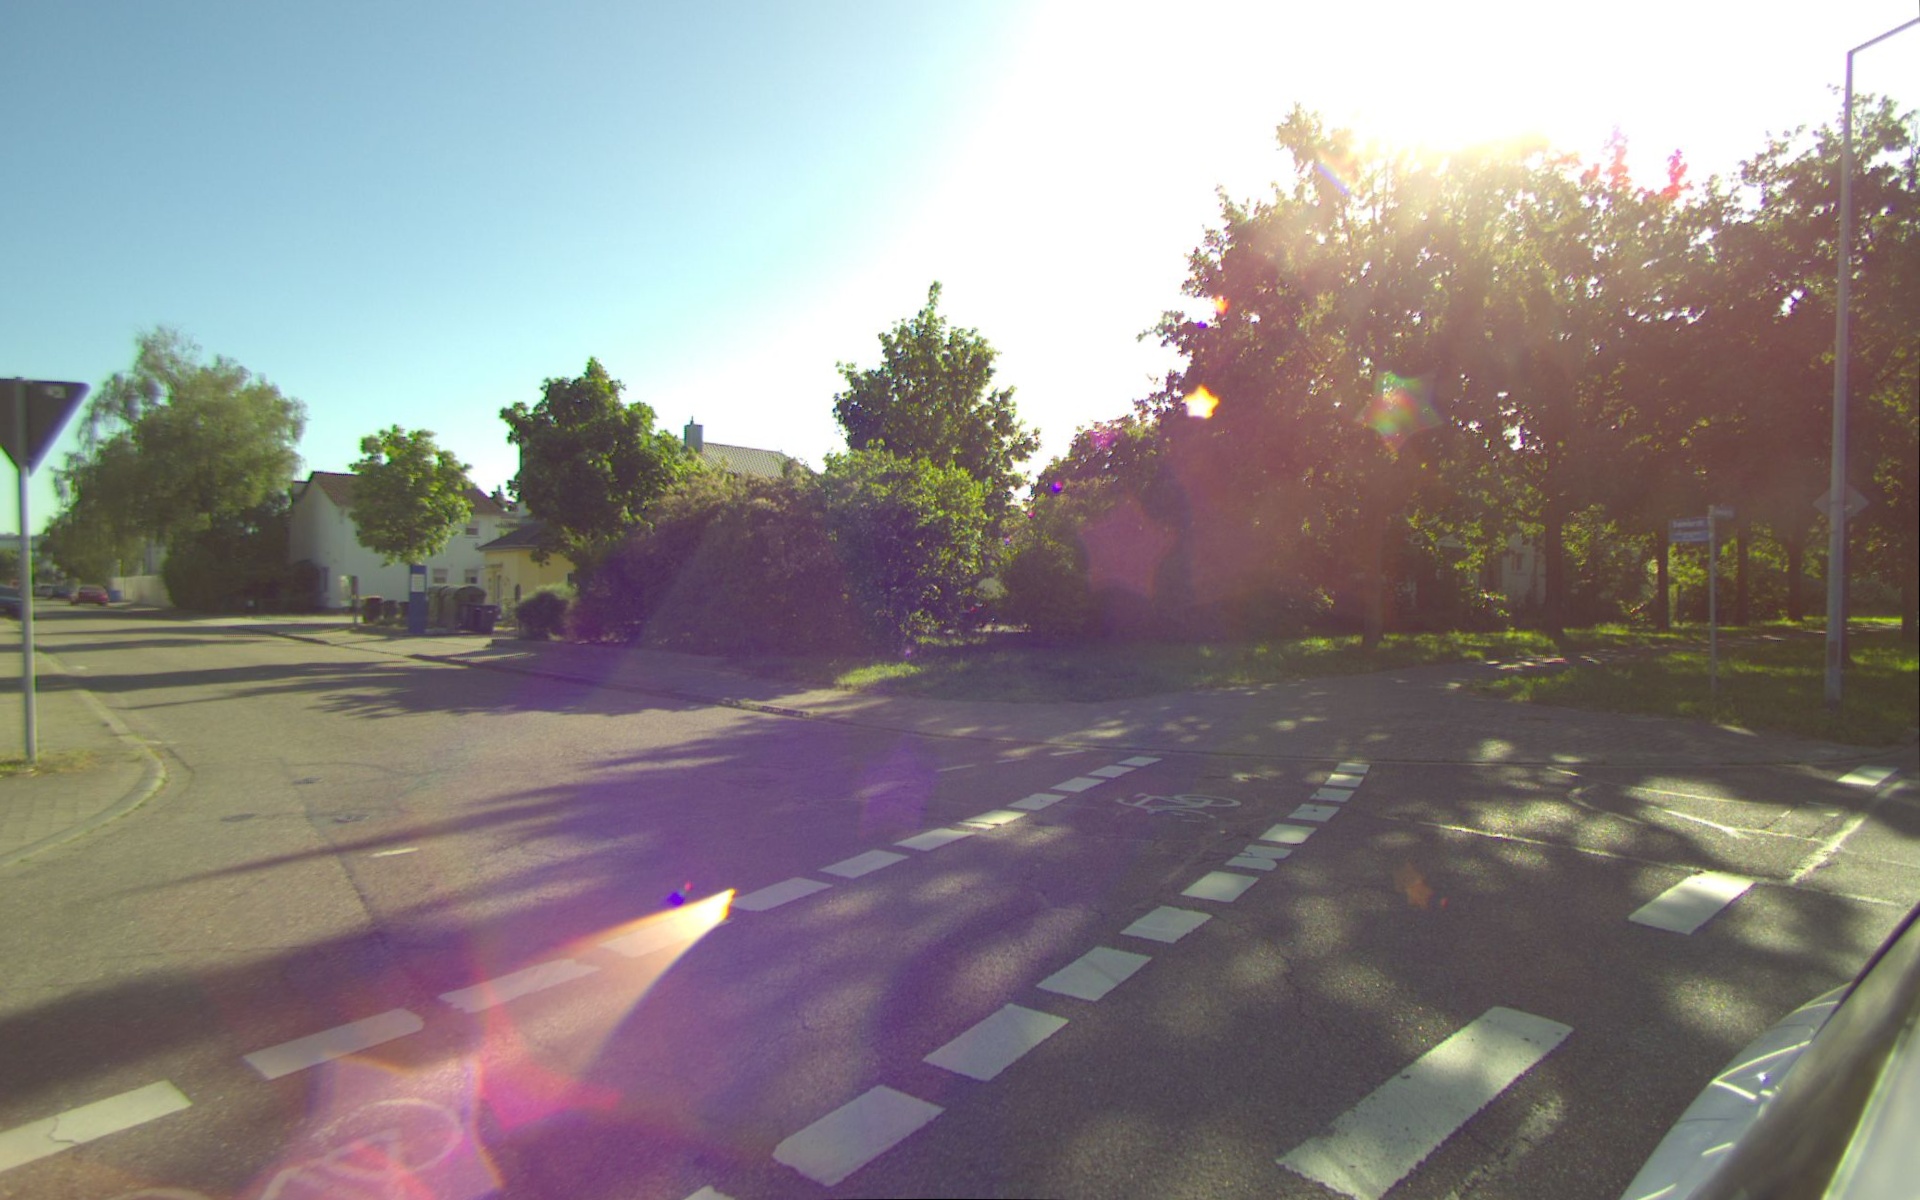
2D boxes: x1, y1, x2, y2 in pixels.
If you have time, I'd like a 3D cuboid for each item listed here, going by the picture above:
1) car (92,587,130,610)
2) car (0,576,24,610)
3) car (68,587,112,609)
[{"bbox_3d":[-70.950,-0.117,84.575,3.985,1.817,1.969,-1,0,43],"label":"car"},{"bbox_3d":[-45.332,-0.288,47.344,3.985,1.560,1.969,-1,0,43],"label":"car"},{"bbox_3d":[-63.011,-0.128,73.280,3.985,1.560,1.969,-1,0,43],"label":"car"}]
